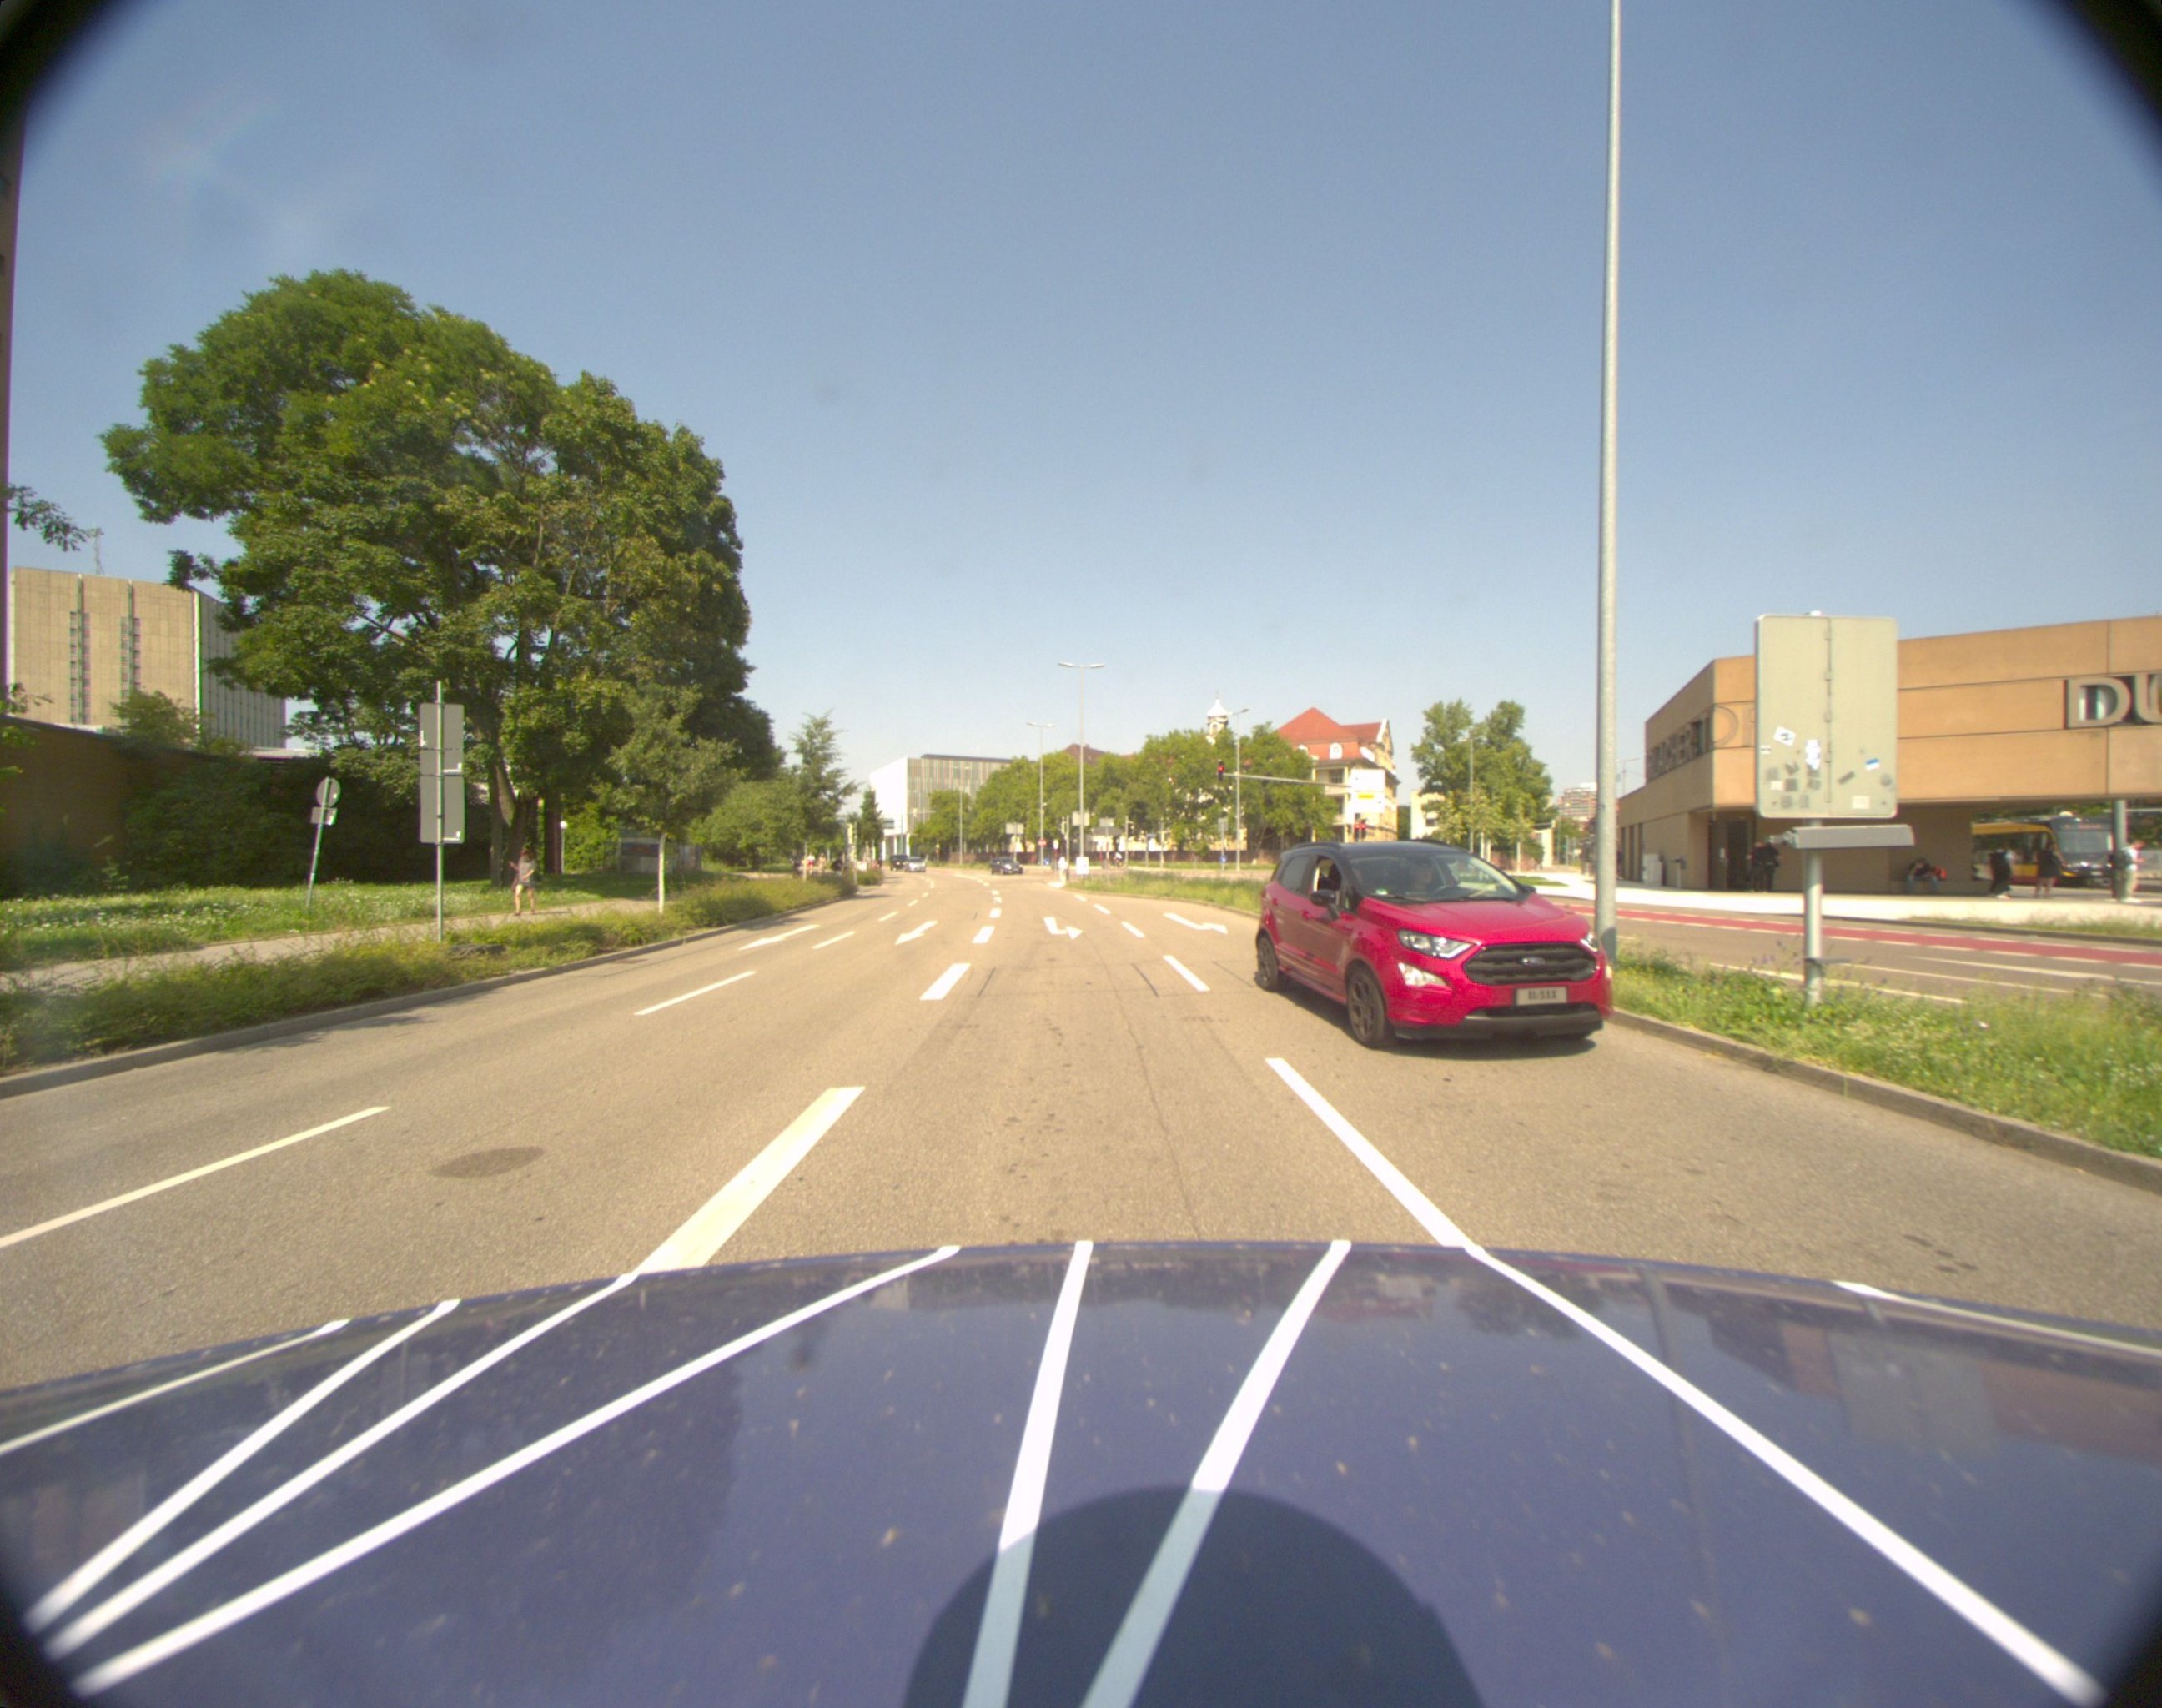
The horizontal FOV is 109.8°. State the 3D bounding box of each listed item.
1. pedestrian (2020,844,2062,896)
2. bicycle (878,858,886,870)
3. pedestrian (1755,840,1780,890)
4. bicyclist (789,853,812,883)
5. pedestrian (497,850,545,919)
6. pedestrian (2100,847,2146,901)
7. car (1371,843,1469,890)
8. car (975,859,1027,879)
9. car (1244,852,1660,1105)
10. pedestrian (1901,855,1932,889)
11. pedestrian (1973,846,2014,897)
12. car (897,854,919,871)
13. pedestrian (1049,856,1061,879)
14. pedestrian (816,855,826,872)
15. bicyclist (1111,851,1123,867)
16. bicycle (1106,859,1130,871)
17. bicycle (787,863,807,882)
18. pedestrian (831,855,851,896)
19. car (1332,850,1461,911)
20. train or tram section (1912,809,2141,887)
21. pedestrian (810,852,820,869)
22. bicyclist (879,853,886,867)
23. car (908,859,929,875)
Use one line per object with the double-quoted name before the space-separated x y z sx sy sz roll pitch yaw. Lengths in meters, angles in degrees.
"pedestrian" 28.169 0.461 22.308 0.539 1.488 0.542 0 1 0
"bicycle" -19.683 1.019 75.229 0.595 1.162 2.232 -1 0 -18
"pedestrian" 22.664 0.355 25.092 0.540 1.615 0.689 0 1 36
"bicyclist" -15.223 0.766 41.198 0.904 1.596 0.924 0 0 0
"pedestrian" -14.017 0.746 19.028 0.672 1.689 0.805 0 1 -11
"pedestrian" 29.142 0.547 21.259 0.539 1.488 0.542 0 1 0
"car" 14.241 0.476 32.187 1.869 1.843 3.911 0 1 -11
"car" -6.593 1.246 63.124 3.994 1.608 1.801 0 0 7
"car" 2.835 0.805 6.855 1.694 1.577 3.844 -2 0 -3
"pedestrian" 26.807 0.569 24.372 0.538 1.093 0.543 0 1 33
"pedestrian" 27.015 0.503 22.491 0.539 1.488 0.542 0 1 0
"car" -20.149 1.004 88.407 1.893 1.908 4.526 -2 0 -19
"pedestrian" -1.470 0.771 43.378 0.605 1.291 0.617 -2 1 -3
"pedestrian" -20.158 0.712 58.883 0.618 1.291 0.436 -3 1 -26
"bicyclist" 3.445 0.482 73.093 1.017 1.542 0.718 0 0 -5
"bicycle" 3.531 1.048 73.109 2.267 1.070 0.659 0 0 -5
"bicycle" -15.360 0.980 41.174 0.357 0.974 1.782 0 0 2
"pedestrian" -11.273 1.017 35.734 0.823 1.892 0.630 0 1 -11
"car" 7.962 0.627 19.513 1.526 1.417 3.475 0 0 -7
"train or tram section" 48.456 -0.285 39.740 2.697 3.418 13.446 0 0 29
"pedestrian" -20.591 0.468 58.787 0.635 1.291 0.486 -3 1 -25
"bicyclist" -19.689 0.622 75.329 0.680 1.392 1.048 -1 0 -18
"car" -16.958 1.323 79.294 1.661 1.521 4.527 -2 0 -17
